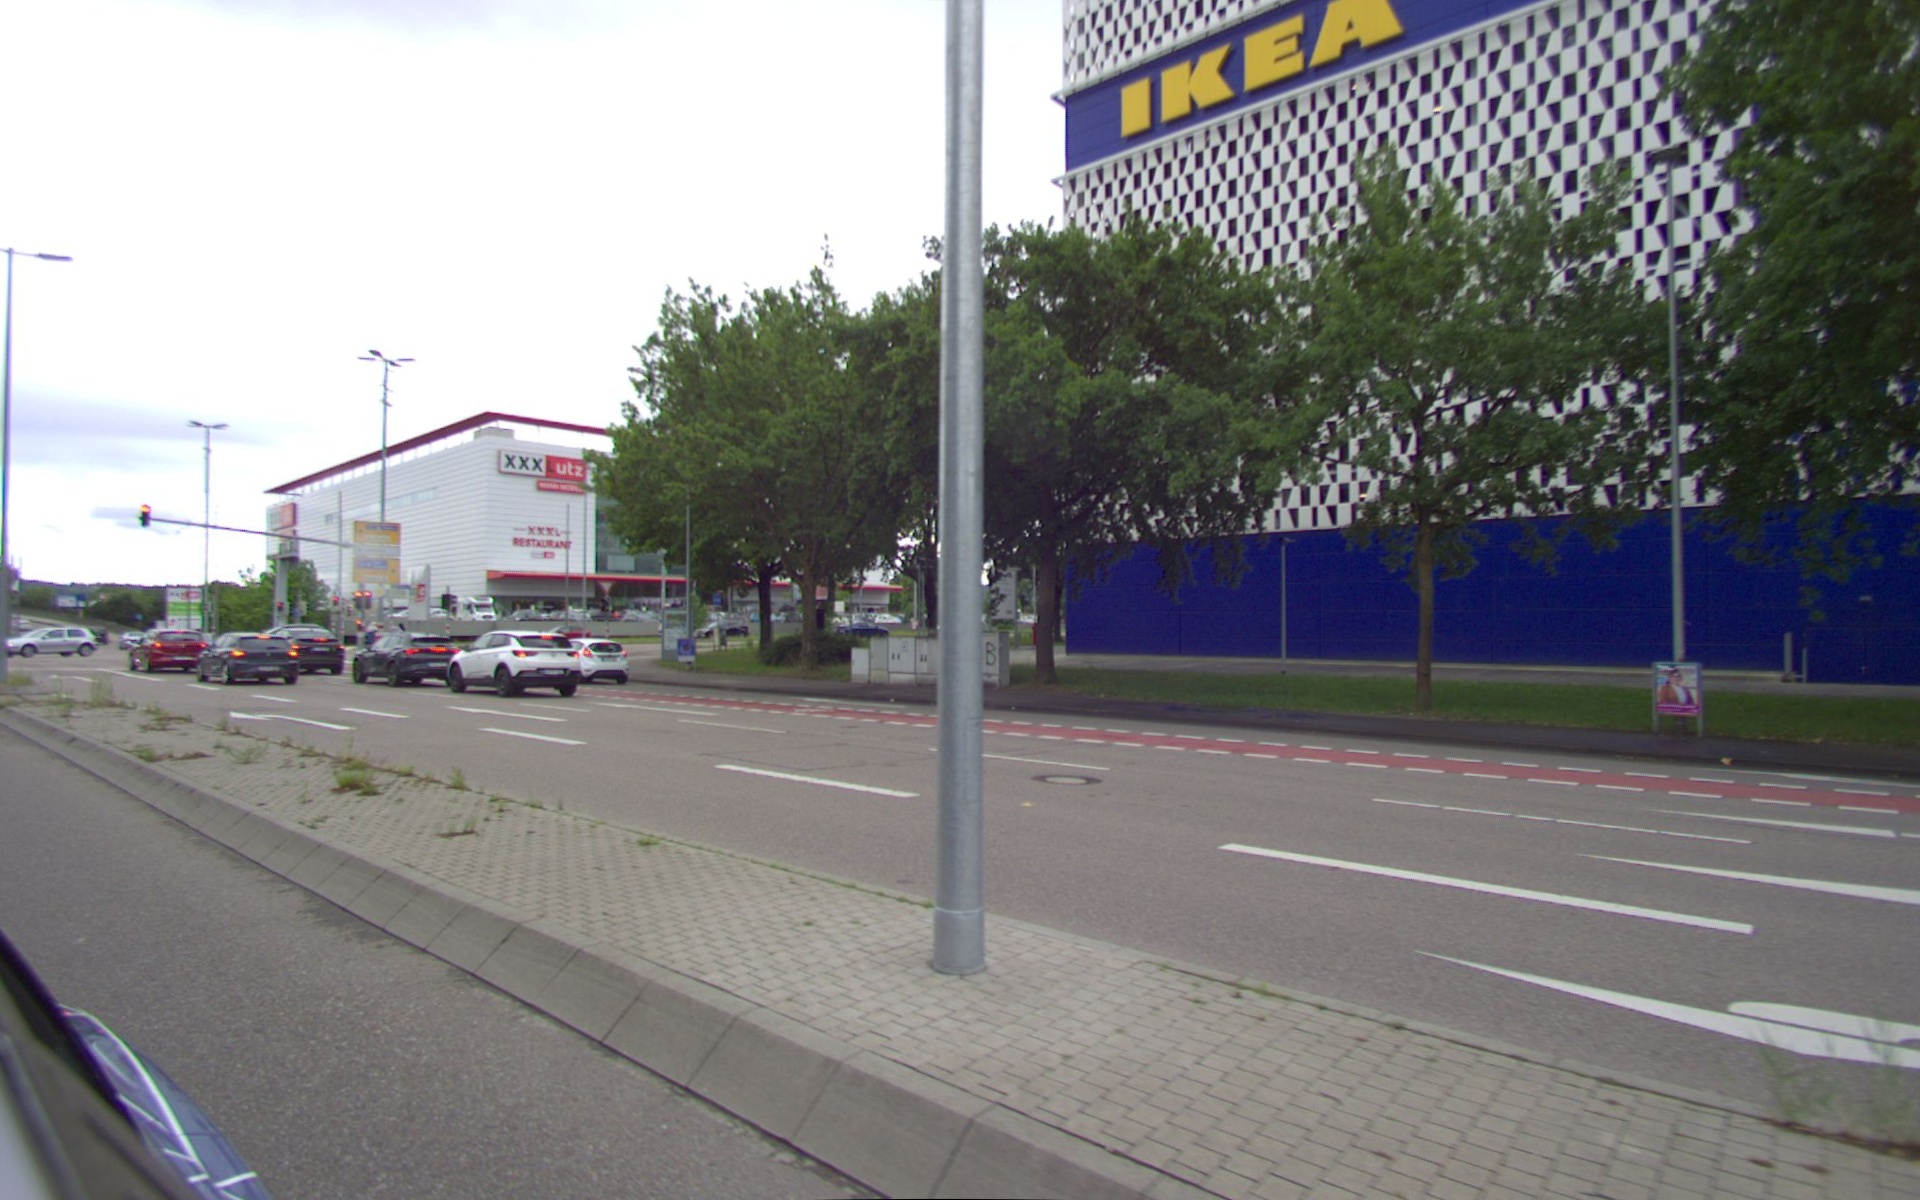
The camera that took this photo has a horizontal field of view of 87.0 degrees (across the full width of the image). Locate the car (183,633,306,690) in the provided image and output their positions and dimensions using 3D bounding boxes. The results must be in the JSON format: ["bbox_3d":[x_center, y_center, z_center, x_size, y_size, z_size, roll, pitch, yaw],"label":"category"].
[{"bbox_3d":[-20.299,1.728,28.653,4.330,1.473,1.837,-3,-5,41],"label":"car"}]

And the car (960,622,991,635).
[{"bbox_3d":[2.031,3.756,133.947,1.770,1.577,4.002,0,-3,-45],"label":"car"}]

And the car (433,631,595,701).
[{"bbox_3d":[-11.365,1.679,25.673,4.575,1.607,1.972,-3,-6,41],"label":"car"}]

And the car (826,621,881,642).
[{"bbox_3d":[-8.100,2.404,77.167,1.703,1.499,4.058,-1,-3,44],"label":"car"}]

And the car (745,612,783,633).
[{"bbox_3d":[-21.035,2.389,108.419,4.000,2.029,1.972,-4,-3,43],"label":"car"}]

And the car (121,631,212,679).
[{"bbox_3d":[-27.463,1.877,34.978,4.076,1.499,1.717,0,-2,41],"label":"car"}]

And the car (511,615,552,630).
[{"bbox_3d":[-51.014,2.647,120.566,1.778,1.688,4.198,-4,-3,44],"label":"car"}]

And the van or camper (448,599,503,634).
[{"bbox_3d":[-48.642,1.710,101.500,2.675,3.159,7.240,0,-3,-45],"label":"van or camper"}]

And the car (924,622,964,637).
[{"bbox_3d":[-1.655,3.060,106.704,1.803,1.426,4.157,-4,-3,44],"label":"car"}]

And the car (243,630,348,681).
[{"bbox_3d":[-23.512,1.946,35.769,4.330,1.650,1.861,-1,-5,40],"label":"car"}]

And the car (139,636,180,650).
[{"bbox_3d":[-104.733,5.624,132.432,4.132,1.622,1.725,0,-3,-41],"label":"car"}]

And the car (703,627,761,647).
[{"bbox_3d":[-17.973,2.929,80.000,1.803,1.426,4.157,-4,-3,44],"label":"car"}]

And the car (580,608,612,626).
[{"bbox_3d":[-43.703,2.072,121.559,4.000,2.029,1.972,-4,-3,43],"label":"car"}]

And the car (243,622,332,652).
[{"bbox_3d":[-39.990,2.180,60.239,1.803,1.586,4.157,-4,-3,44],"label":"car"}]

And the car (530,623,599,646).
[{"bbox_3d":[-28.095,2.429,71.935,1.803,1.426,4.157,-4,-3,44],"label":"car"}]

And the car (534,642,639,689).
[{"bbox_3d":[-12.488,2.157,33.696,1.834,1.473,4.338,3,-4,-40],"label":"car"}]

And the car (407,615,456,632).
[{"bbox_3d":[-55.495,2.442,106.351,1.778,1.688,4.198,-4,-3,44],"label":"car"}]

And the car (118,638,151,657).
[{"bbox_3d":[-67.246,3.850,82.439,3.927,1.382,1.671,-4,-3,44],"label":"car"}]

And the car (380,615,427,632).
[{"bbox_3d":[-60.578,2.588,110.215,1.778,1.688,4.198,-4,-3,44],"label":"car"}]

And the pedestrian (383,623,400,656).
[{"bbox_3d":[-28.495,1.969,50.720,0.630,1.639,0.694,1,-1,-23],"label":"pedestrian"}]

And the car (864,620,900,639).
[{"bbox_3d":[-9.458,3.562,122.514,4.326,2.029,1.972,-4,-3,43],"label":"car"}]

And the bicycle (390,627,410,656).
[{"bbox_3d":[-28.160,2.087,50.938,0.587,1.407,1.940,2,-2,-22],"label":"bicycle"}]

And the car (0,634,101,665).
[{"bbox_3d":[-45.495,2.446,50.091,1.790,1.426,4.188,-3,-2,22],"label":"car"}]

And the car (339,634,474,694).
[{"bbox_3d":[-16.131,1.808,29.392,4.595,1.556,1.861,0,-3,40],"label":"car"}]

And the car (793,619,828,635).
[{"bbox_3d":[-18.216,3.300,123.598,1.890,1.807,3.944,-4,-3,42],"label":"car"}]
